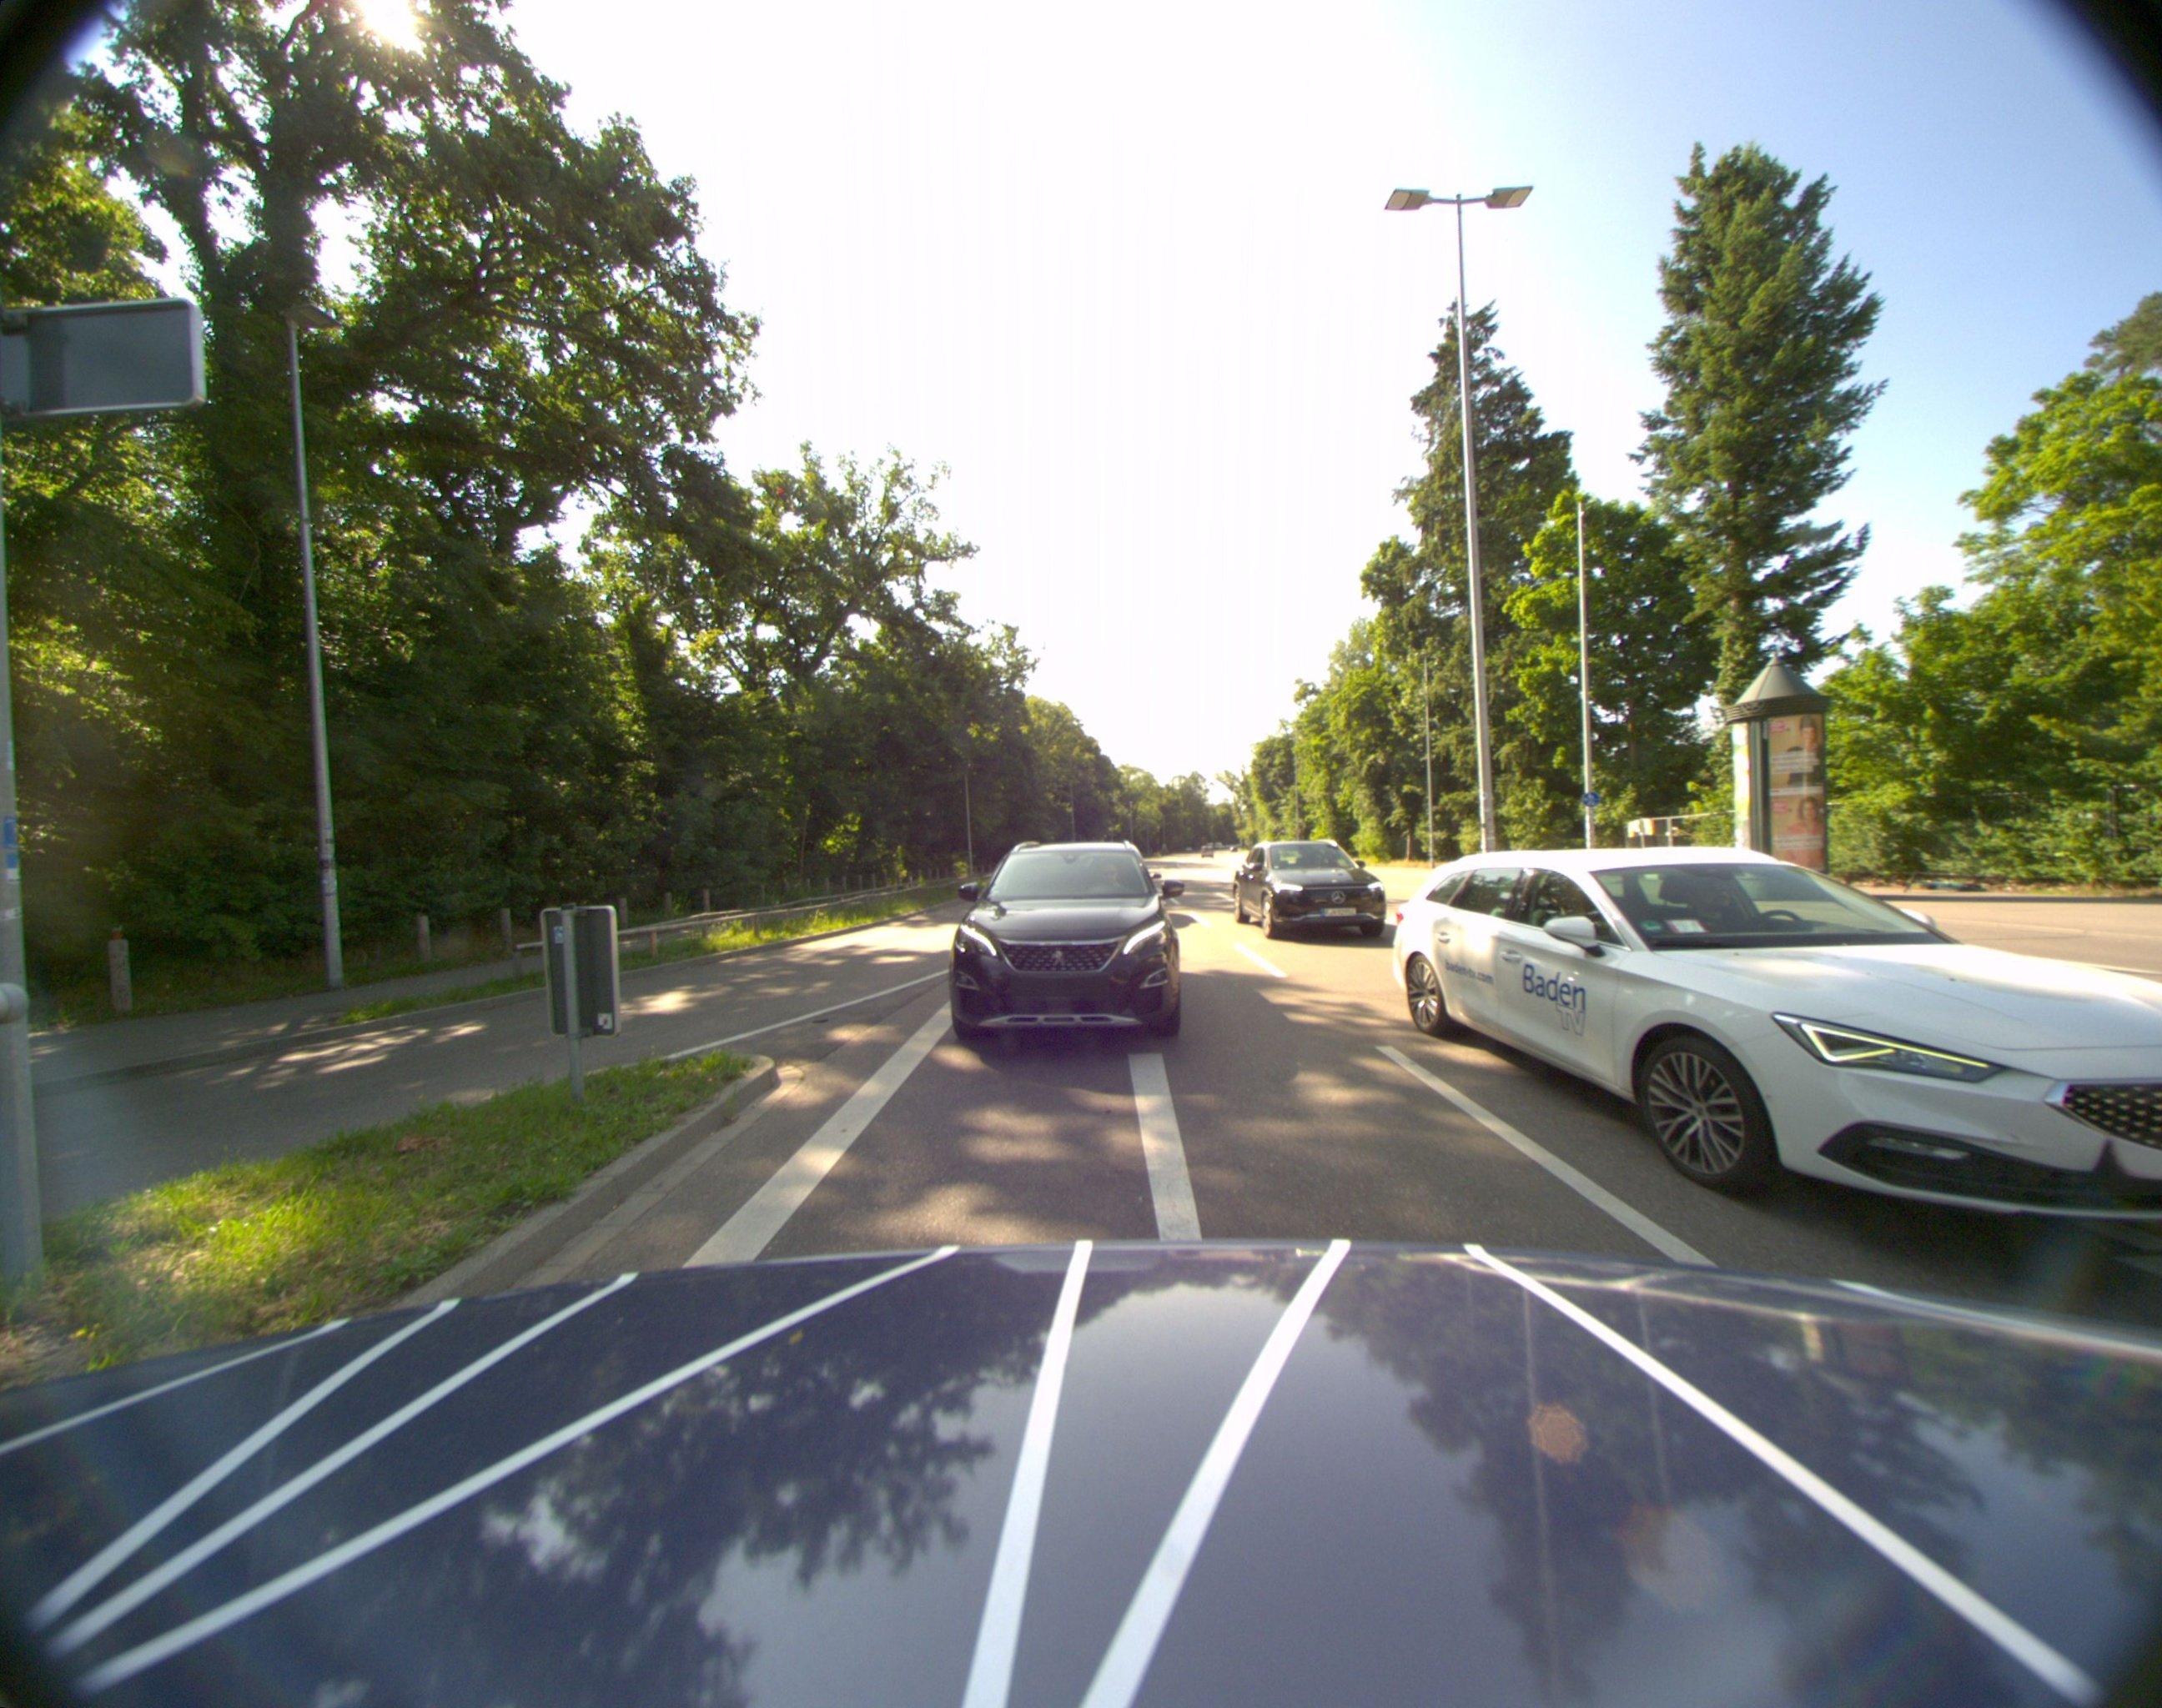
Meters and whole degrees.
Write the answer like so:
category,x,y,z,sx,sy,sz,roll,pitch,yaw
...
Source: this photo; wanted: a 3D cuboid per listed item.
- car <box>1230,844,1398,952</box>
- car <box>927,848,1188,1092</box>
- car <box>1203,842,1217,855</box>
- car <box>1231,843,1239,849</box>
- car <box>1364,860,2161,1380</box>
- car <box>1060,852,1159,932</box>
category,x,y,z,sx,sy,sz,roll,pitch,yaw
car,3.884,0.656,13.446,1.809,1.587,4.274,-1,0,2
car,-0.116,0.777,7.316,1.702,1.581,4.319,-2,1,1
car,20.707,-0.895,121.954,1.876,1.849,4.002,-2,1,7
car,42.310,-2.127,208.695,1.855,1.608,4.002,-2,1,9
car,3.422,0.804,4.580,1.729,1.418,4.720,-1,1,1
car,0.723,0.763,17.305,1.932,1.499,4.001,-2,1,4
